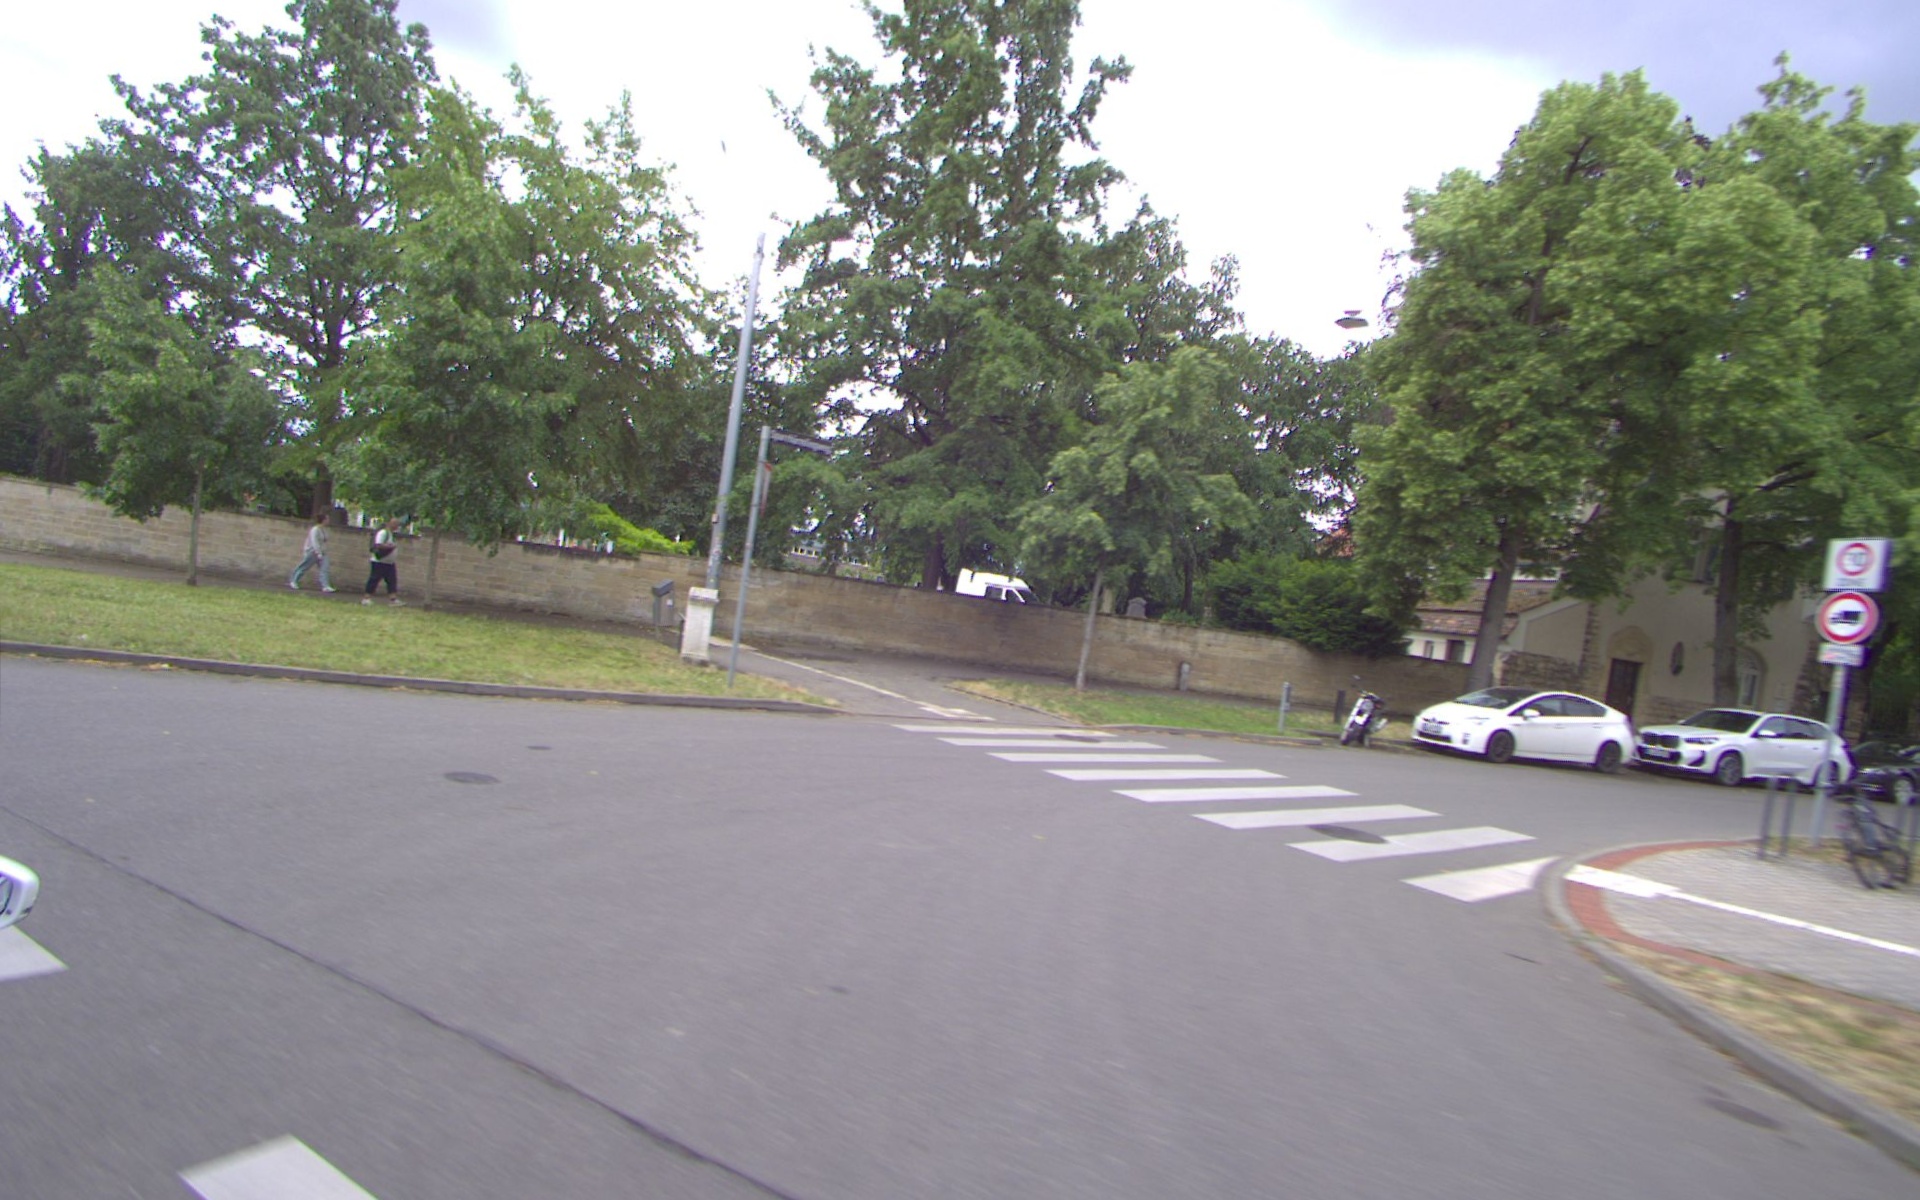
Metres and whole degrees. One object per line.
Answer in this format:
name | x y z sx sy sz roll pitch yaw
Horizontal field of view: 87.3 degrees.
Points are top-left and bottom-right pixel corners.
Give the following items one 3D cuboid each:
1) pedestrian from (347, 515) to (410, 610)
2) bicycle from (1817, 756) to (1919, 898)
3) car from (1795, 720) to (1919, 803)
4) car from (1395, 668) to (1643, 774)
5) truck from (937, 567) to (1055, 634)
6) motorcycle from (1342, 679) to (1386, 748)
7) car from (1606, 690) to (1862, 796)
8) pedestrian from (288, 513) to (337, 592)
pedestrian | -11.390 -0.727 19.718 0.649 1.755 0.711 7 0 -7
bicycle | 8.867 2.141 9.801 0.593 1.079 2.175 7 0 43
car | 21.309 3.710 22.546 4.306 1.453 1.792 7 0 -16
car | 11.131 2.402 20.102 4.214 1.517 1.806 7 0 -17
truck | 1.869 -0.019 52.911 5.678 2.867 2.217 5 -3 37
motorcycle | 7.730 2.166 19.184 0.551 1.182 2.000 6 -3 26
car | 16.560 3.048 21.599 4.303 1.615 1.995 7 0 -14
pedestrian | -13.865 -1.015 21.547 0.564 1.606 0.580 7 3 -3
